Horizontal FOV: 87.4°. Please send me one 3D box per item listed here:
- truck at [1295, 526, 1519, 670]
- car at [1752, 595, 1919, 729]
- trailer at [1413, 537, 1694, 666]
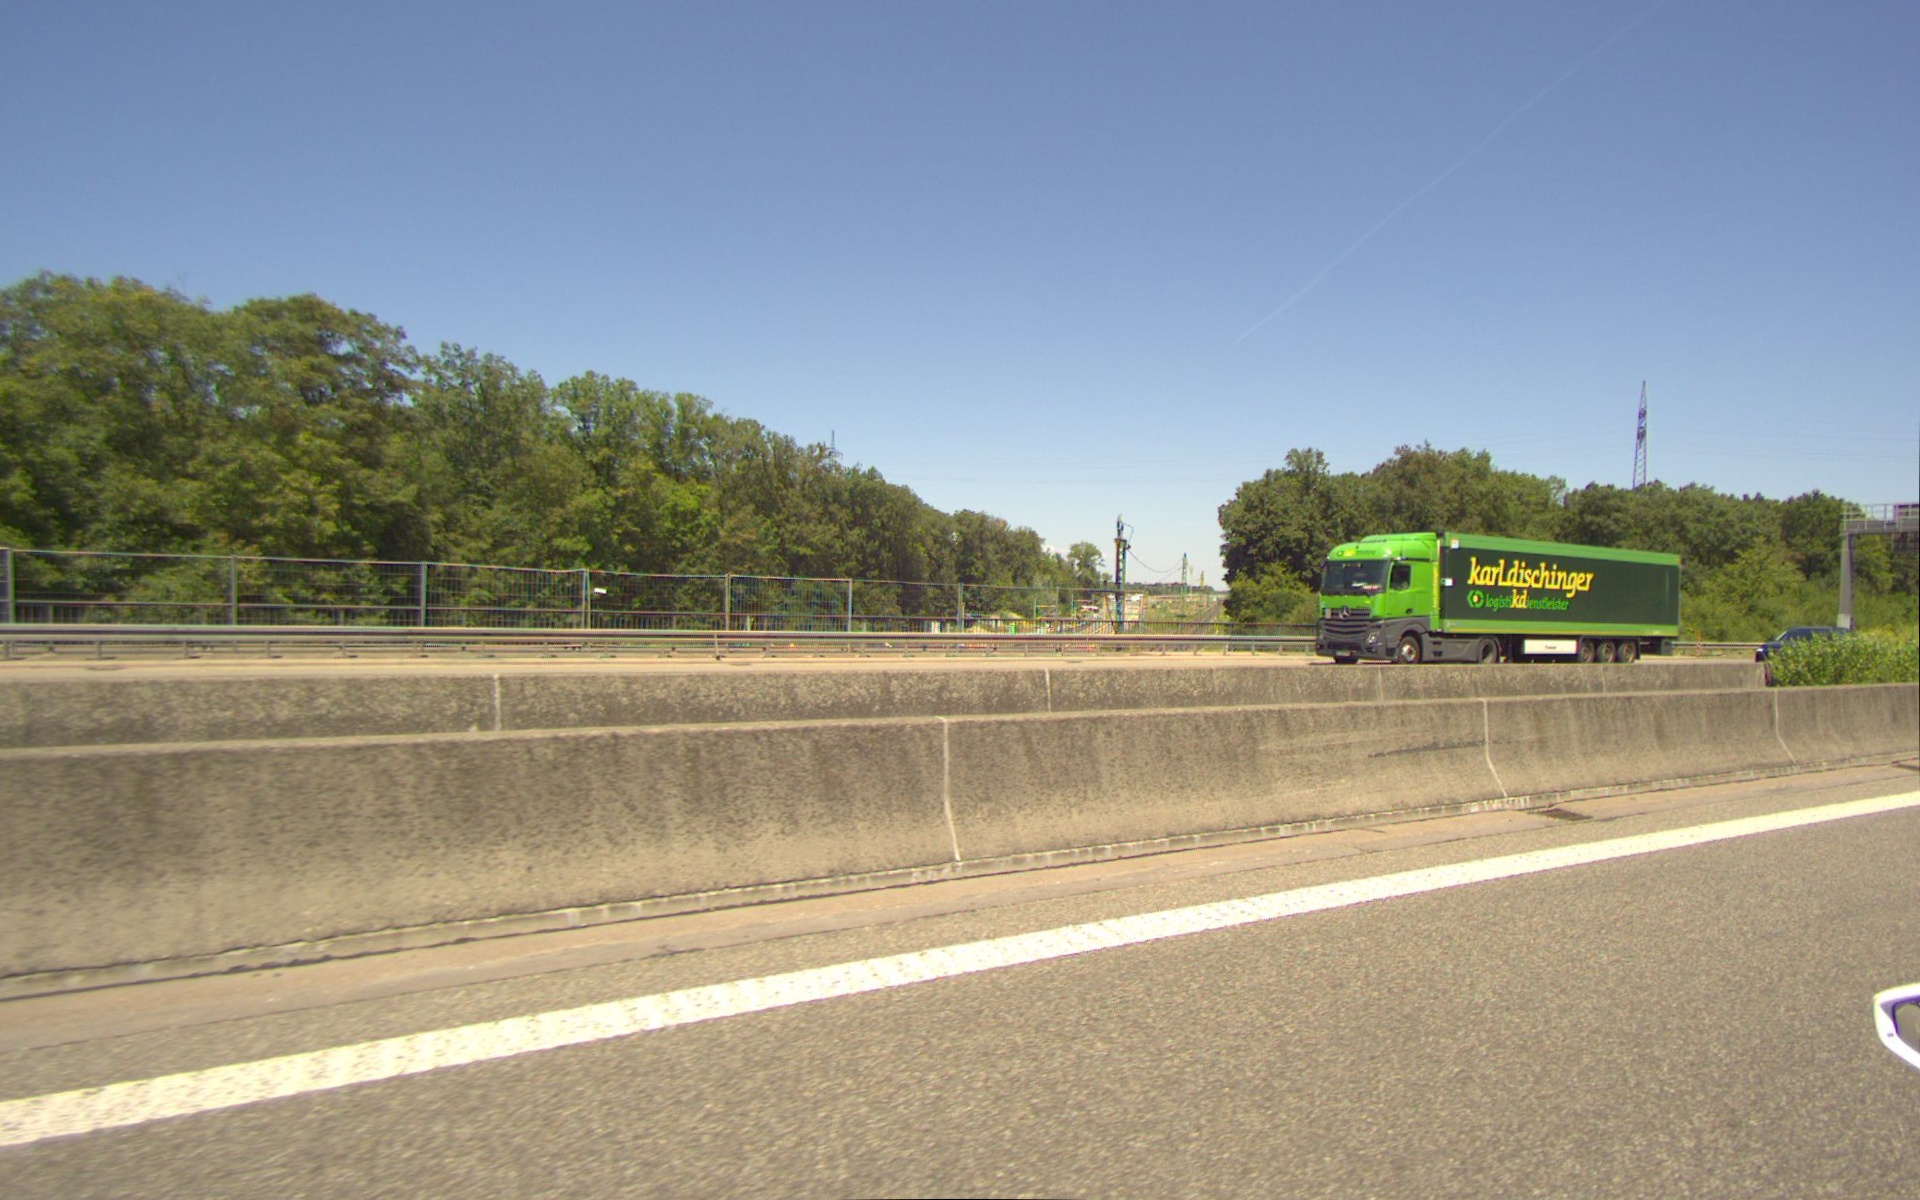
[{"bbox_3d":[13.687,0.009,30.708,6.417,3.993,2.911,1,0,-28],"label":"truck"},{"bbox_3d":[16.228,1.001,17.379,4.651,2.040,2.283,1,0,-28],"label":"car"},{"bbox_3d":[20.720,0.180,34.687,11.725,3.914,2.910,1,0,-30],"label":"trailer"}]
